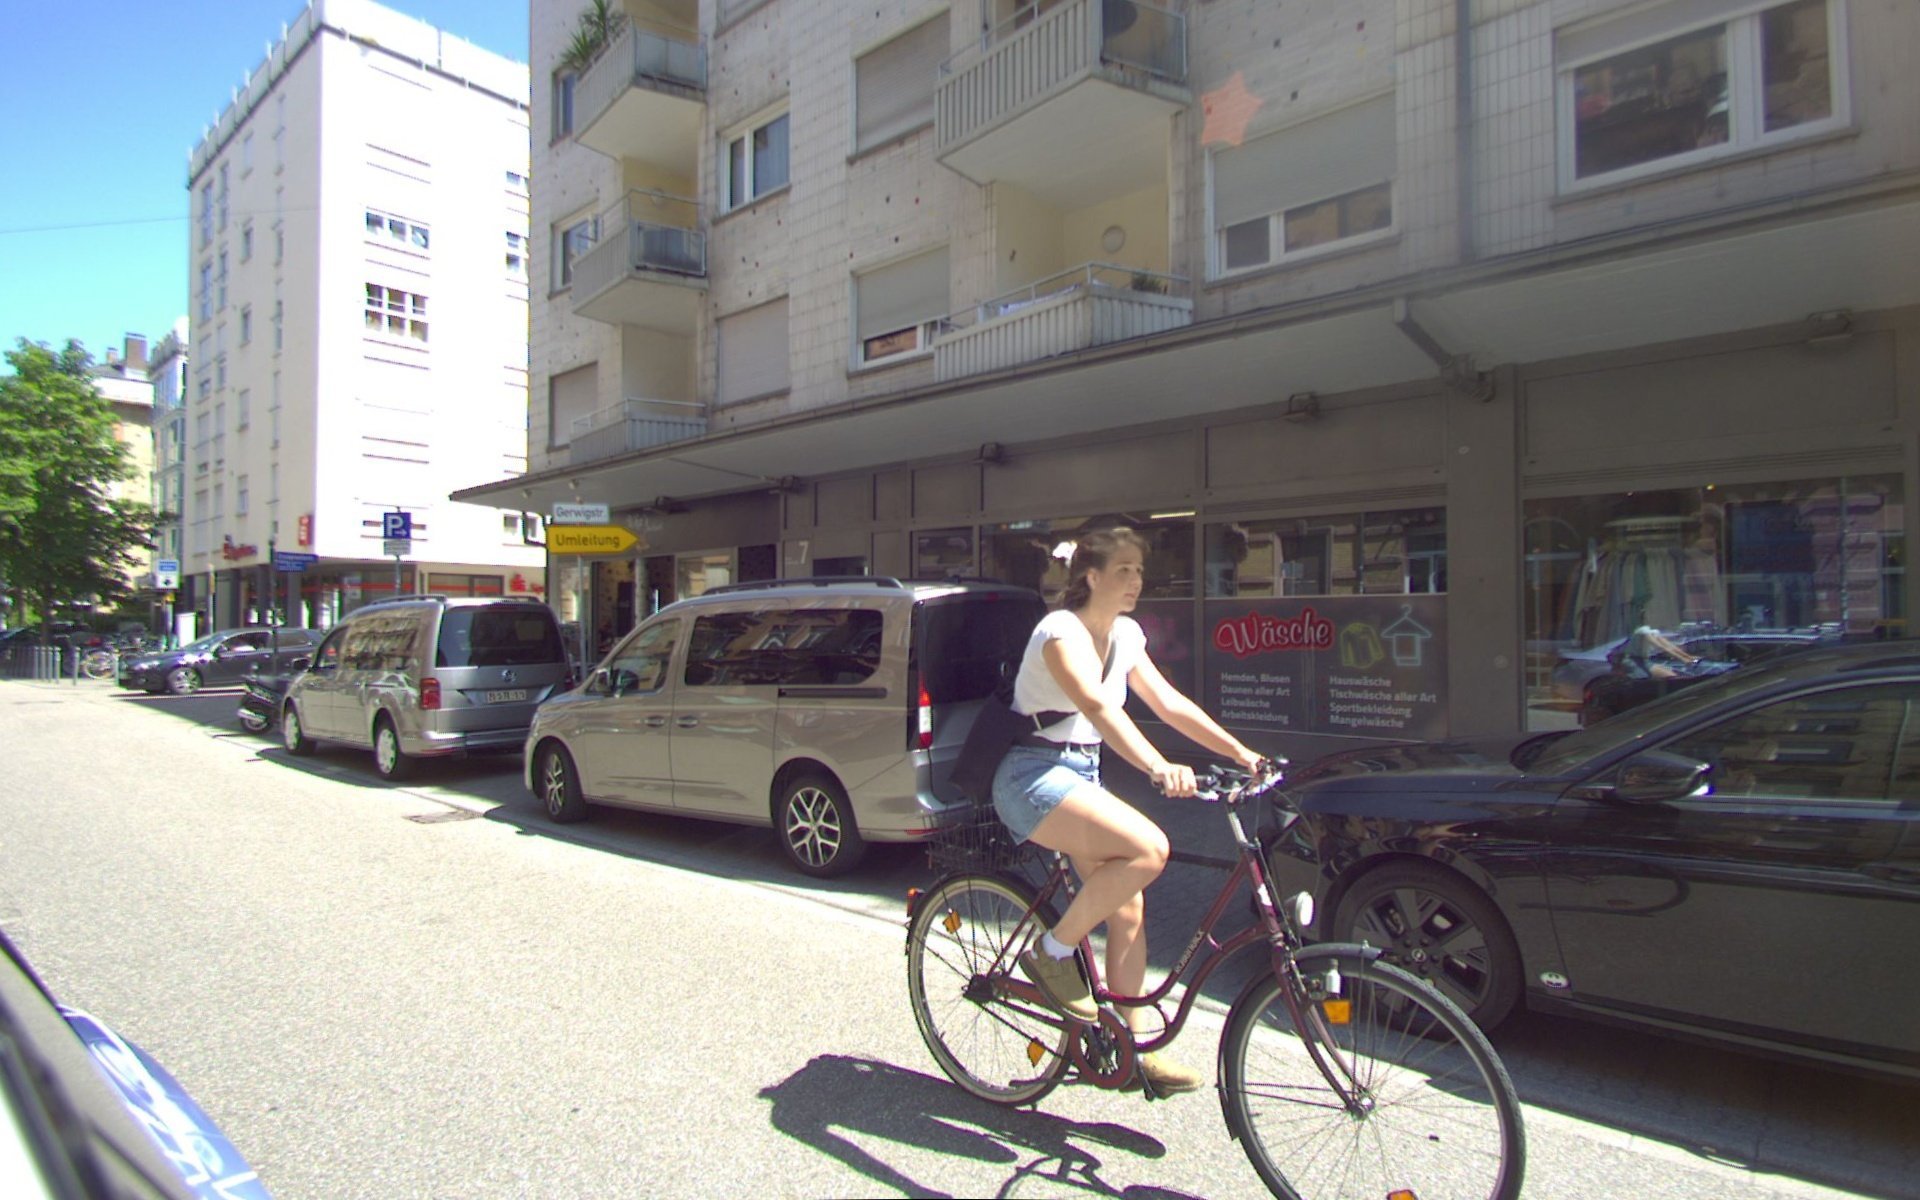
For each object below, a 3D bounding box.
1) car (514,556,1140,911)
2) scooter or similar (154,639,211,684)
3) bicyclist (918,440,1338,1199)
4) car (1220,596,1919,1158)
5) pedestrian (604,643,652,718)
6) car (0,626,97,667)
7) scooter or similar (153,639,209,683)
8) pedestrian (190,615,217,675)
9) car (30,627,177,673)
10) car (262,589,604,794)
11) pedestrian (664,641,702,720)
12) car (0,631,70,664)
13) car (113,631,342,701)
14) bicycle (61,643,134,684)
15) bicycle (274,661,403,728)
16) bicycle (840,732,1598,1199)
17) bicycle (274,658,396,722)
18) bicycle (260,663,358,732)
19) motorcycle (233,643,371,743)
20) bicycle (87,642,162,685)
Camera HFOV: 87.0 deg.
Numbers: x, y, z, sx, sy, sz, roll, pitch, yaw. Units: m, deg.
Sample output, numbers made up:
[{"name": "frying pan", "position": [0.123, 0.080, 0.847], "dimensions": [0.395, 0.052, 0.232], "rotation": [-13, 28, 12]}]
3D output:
[{"name": "car", "position": [-1.214, 0.748, 7.388], "dimensions": [4.693, 1.825, 1.771], "rotation": [-2, -1, 39]}, {"name": "scooter or similar", "position": [-20.889, 1.635, 27.198], "dimensions": [0.289, 1.176, 1.177], "rotation": [-2, -2, 39]}, {"name": "bicyclist", "position": [0.448, 0.510, 2.854], "dimensions": [0.978, 1.719, 0.616], "rotation": [-2, -3, 41]}, {"name": "car", "position": [3.285, 0.752, 3.283], "dimensions": [4.462, 1.536, 1.652], "rotation": [-2, -1, 42]}, {"name": "pedestrian", "position": [-5.150, 1.237, 15.710], "dimensions": [0.504, 1.135, 0.496], "rotation": [-1, -2, 21]}, {"name": "car", "position": [-40.596, 2.030, 44.502], "dimensions": [1.651, 1.760, 3.835], "rotation": [-2, -2, 40]}, {"name": "scooter or similar", "position": [-21.435, 1.671, 27.858], "dimensions": [0.289, 1.176, 1.177], "rotation": [-2, -2, 39]}, {"name": "pedestrian", "position": [-27.497, 1.622, 36.798], "dimensions": [0.599, 2.141, 0.496], "rotation": [0, -2, -13]}, {"name": "car", "position": [-30.705, 1.767, 36.364], "dimensions": [1.651, 1.541, 3.835], "rotation": [-2, -2, 40]}, {"name": "car", "position": [-6.113, 0.887, 11.425], "dimensions": [4.898, 1.843, 1.770], "rotation": [-2, -1, 41]}, {"name": "pedestrian", "position": [-4.130, 1.186, 15.069], "dimensions": [0.491, 1.135, 0.510], "rotation": [0, -2, -21]}, {"name": "car", "position": [-44.959, 2.255, 48.054], "dimensions": [1.651, 1.507, 3.835], "rotation": [-2, -2, 40]}, {"name": "car", "position": [-16.460, 1.424, 22.896], "dimensions": [1.813, 1.436, 3.842], "rotation": [-2, -2, 38]}, {"name": "bicycle", "position": [-24.888, 1.821, 29.216], "dimensions": [1.586, 1.099, 0.371], "rotation": [-1, -1, -44]}, {"name": "bicycle", "position": [-9.568, 1.446, 15.621], "dimensions": [1.684, 0.964, 0.411], "rotation": [-1, -1, -6]}, {"name": "bicycle", "position": [0.546, 0.996, 2.758], "dimensions": [1.939, 1.100, 0.596], "rotation": [-2, -2, 41]}, {"name": "bicycle", "position": [-10.189, 1.461, 16.529], "dimensions": [1.684, 0.964, 0.411], "rotation": [-1, -1, -6]}, {"name": "bicycle", "position": [-9.627, 1.437, 14.971], "dimensions": [1.194, 0.964, 0.337], "rotation": [-1, -1, -6]}, {"name": "motorcycle", "position": [-9.061, 1.263, 13.981], "dimensions": [1.530, 1.293, 0.394], "rotation": [-1, 0, -17]}, {"name": "bicycle", "position": [-23.308, 1.750, 28.248], "dimensions": [1.586, 1.099, 0.371], "rotation": [-1, -1, -44]}]
